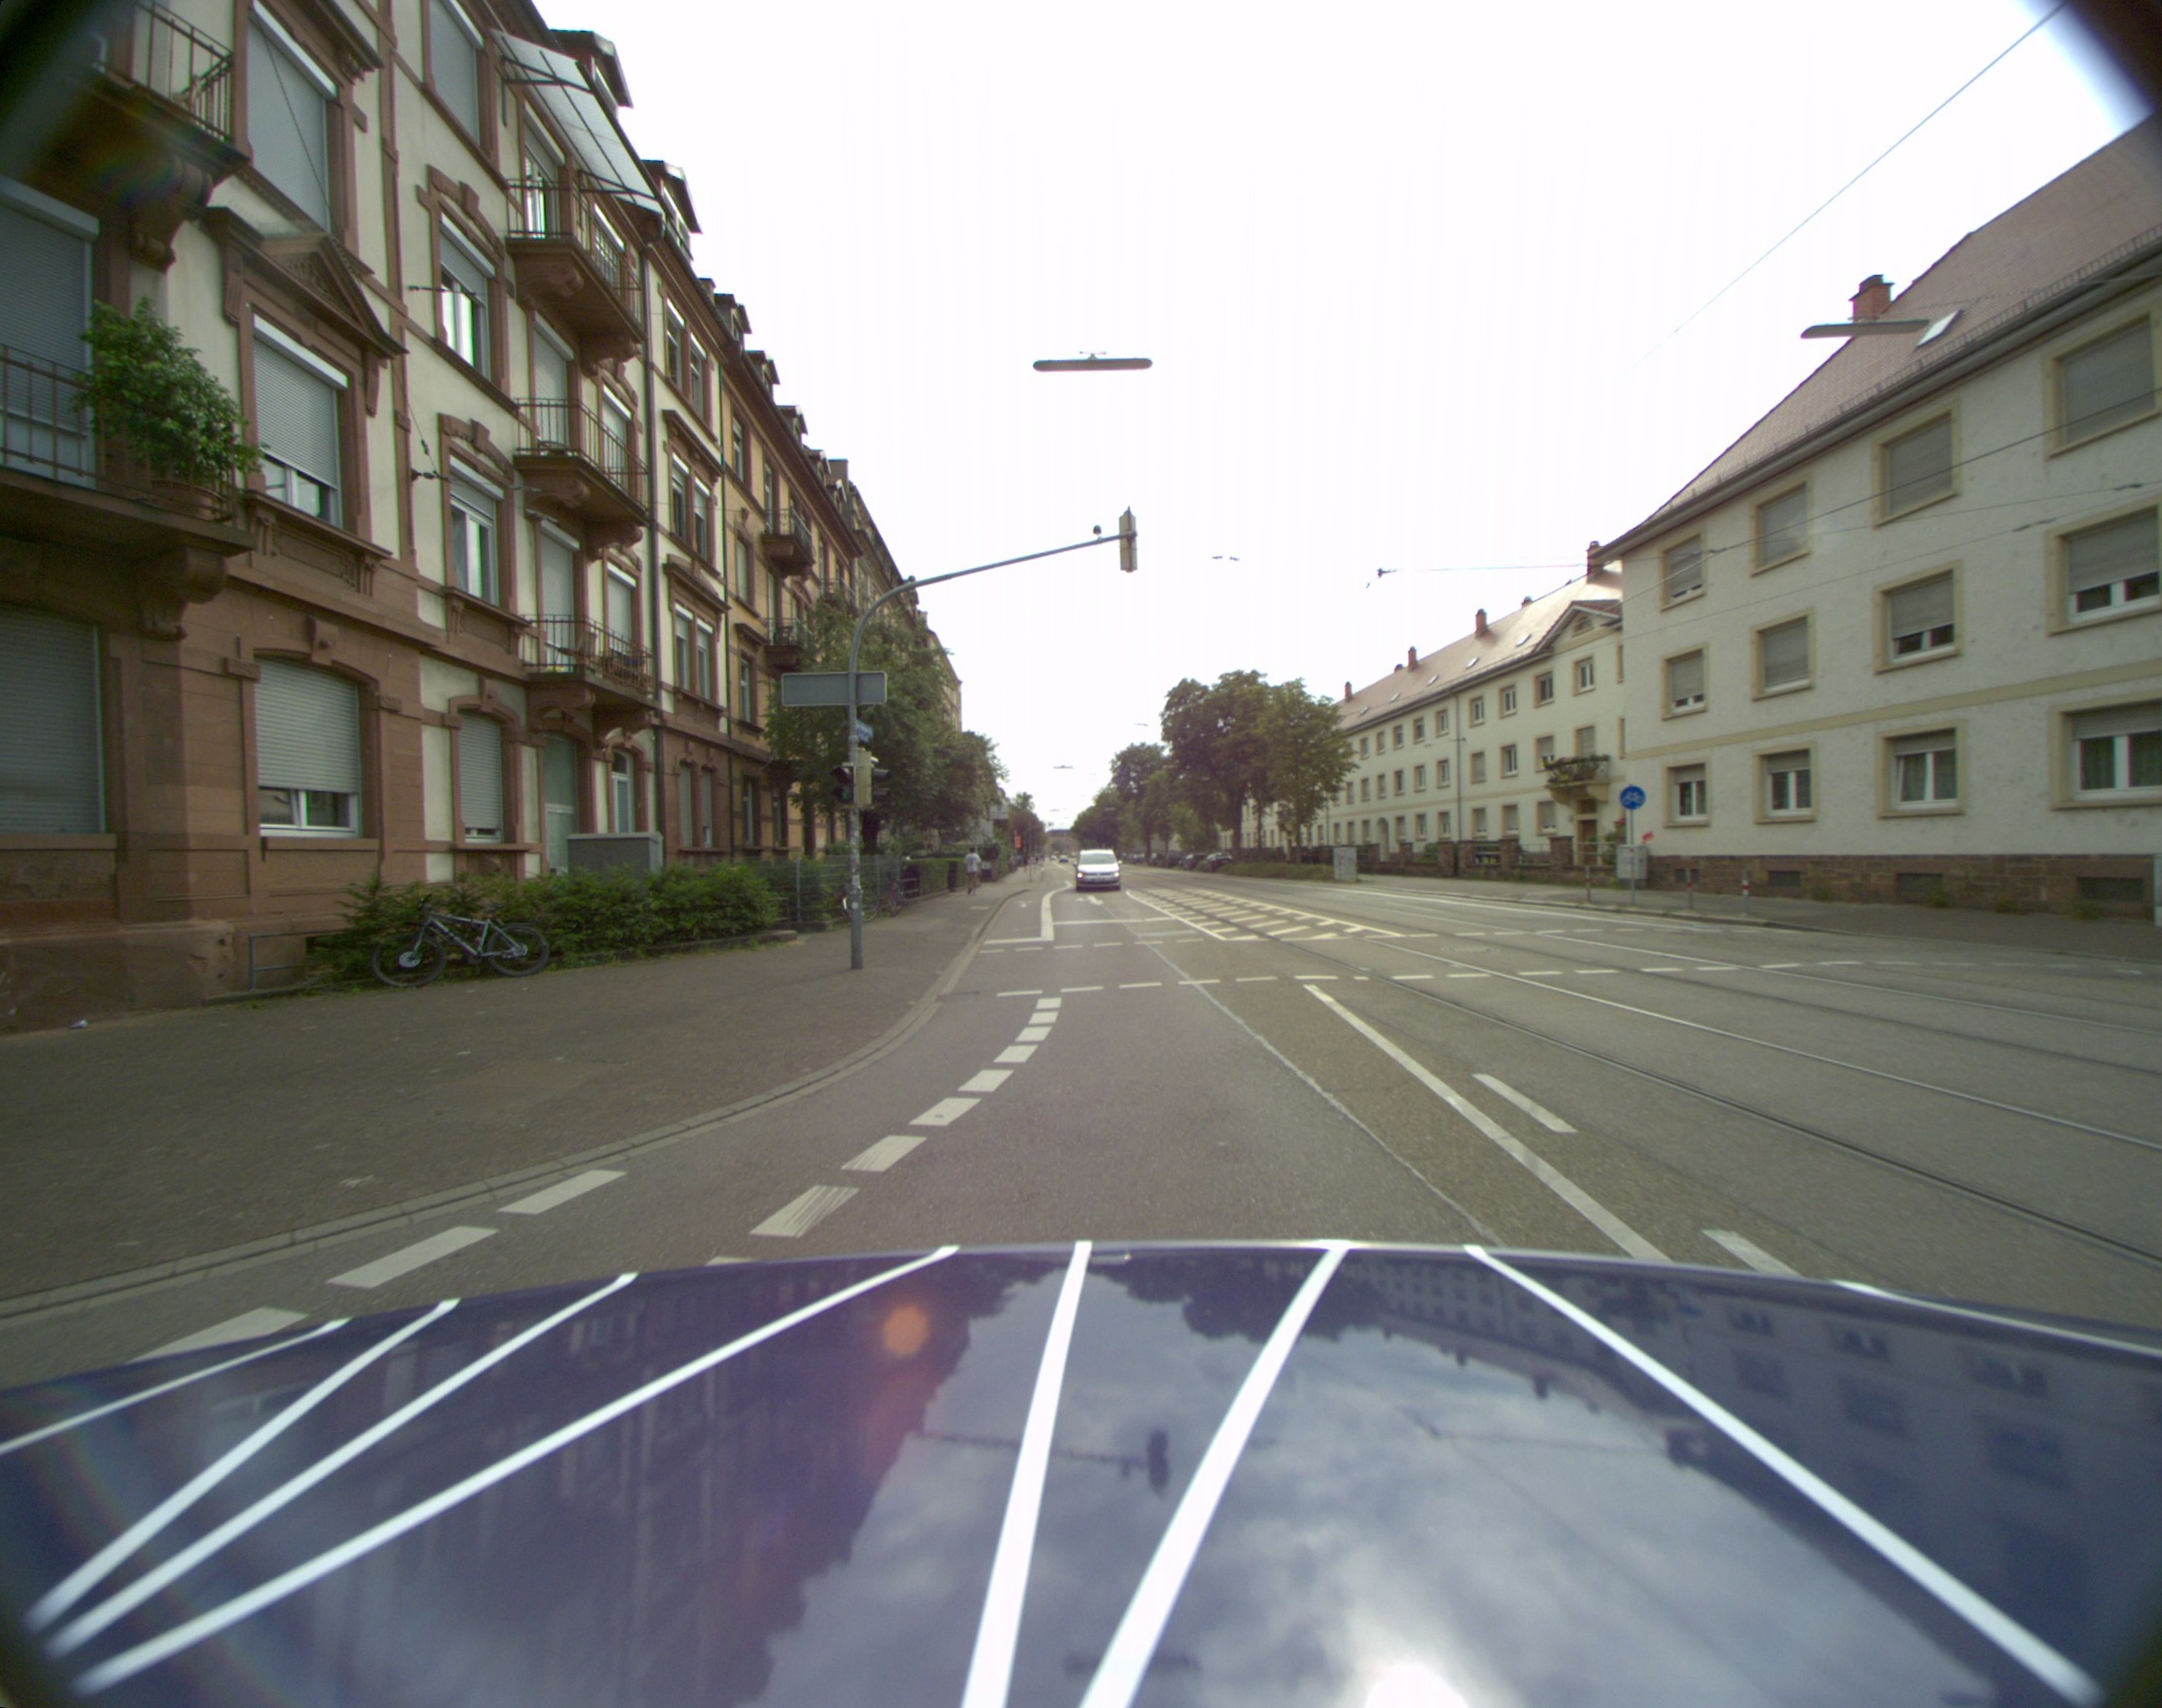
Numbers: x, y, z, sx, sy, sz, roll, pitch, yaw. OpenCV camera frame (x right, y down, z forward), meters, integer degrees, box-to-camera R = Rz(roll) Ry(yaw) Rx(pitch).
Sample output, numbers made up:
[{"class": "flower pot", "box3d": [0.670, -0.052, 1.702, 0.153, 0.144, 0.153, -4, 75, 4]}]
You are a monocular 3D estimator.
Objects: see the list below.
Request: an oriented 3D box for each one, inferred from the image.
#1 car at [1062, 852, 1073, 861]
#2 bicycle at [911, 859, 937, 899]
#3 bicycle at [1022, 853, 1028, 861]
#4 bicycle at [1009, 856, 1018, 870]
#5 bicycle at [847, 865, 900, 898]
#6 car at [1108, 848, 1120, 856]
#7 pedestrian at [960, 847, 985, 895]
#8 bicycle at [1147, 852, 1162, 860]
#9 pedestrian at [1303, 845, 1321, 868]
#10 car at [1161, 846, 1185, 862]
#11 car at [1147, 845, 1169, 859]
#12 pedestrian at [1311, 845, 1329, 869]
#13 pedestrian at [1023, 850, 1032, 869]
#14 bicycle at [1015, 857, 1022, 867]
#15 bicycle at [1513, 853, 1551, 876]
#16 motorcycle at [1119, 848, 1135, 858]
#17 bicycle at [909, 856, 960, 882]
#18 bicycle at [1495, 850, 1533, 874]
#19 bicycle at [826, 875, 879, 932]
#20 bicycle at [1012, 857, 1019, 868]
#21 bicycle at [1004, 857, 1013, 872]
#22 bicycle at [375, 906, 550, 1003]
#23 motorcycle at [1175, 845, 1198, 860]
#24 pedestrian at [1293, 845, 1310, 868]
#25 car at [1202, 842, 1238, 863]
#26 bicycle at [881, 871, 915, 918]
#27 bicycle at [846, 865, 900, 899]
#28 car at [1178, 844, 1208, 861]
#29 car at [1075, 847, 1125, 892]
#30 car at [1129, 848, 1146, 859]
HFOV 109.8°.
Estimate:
[{"class": "car", "box3d": [-2.631, 0.473, 149.519, 1.947, 1.675, 4.000, -1, 0, 2]}, {"class": "bicycle", "box3d": [-5.240, 0.810, 25.414, 0.517, 1.274, 1.550, -1, 0, 0]}, {"class": "bicycle", "box3d": [-7.884, 0.401, 107.077, 0.630, 1.106, 1.874, -1, 0, -2]}, {"class": "bicycle", "box3d": [-5.571, 0.735, 62.800, 0.580, 1.105, 1.671, 3, 0, -4]}, {"class": "bicycle", "box3d": [-6.567, 0.876, 24.117, 1.549, 1.003, 0.444, -1, 1, -4]}, {"class": "car", "box3d": [6.298, -0.319, 143.720, 1.732, 1.462, 4.298, -1, 0, -5]}, {"class": "pedestrian", "box3d": [-4.023, 0.616, 28.262, 0.732, 1.744, 0.950, -1, 1, 2]}, {"class": "bicycle", "box3d": [8.930, 0.252, 91.827, 1.672, 0.965, 0.672, -1, 1, -12]}, {"class": "pedestrian", "box3d": [14.757, 0.170, 48.613, 0.835, 1.456, 0.732, -1, 1, -8]}, {"class": "car", "box3d": [9.422, -0.015, 77.937, 1.790, 1.602, 4.298, -1, 0, -3]}, {"class": "car", "box3d": [8.847, -0.230, 87.223, 1.701, 1.462, 4.298, -1, 0, -5]}, {"class": "pedestrian", "box3d": [14.925, 0.198, 47.429, 0.835, 1.456, 0.732, -1, 1, -8]}, {"class": "pedestrian", "box3d": [-4.670, 0.445, 66.328, 0.732, 1.614, 0.835, -1, 1, -3]}, {"class": "bicycle", "box3d": [-6.092, 0.788, 74.286, 0.580, 0.977, 1.671, 3, 0, -4]}, {"class": "bicycle", "box3d": [18.097, 0.414, 30.527, 0.479, 0.910, 1.671, -1, 0, -2]}, {"class": "motorcycle", "box3d": [7.368, -0.184, 122.003, 2.312, 1.382, 0.838, -6, 1, 29]}, {"class": "bicycle", "box3d": [-7.986, 0.814, 41.463, 2.631, 1.304, 0.770, -1, 1, -5]}, {"class": "bicycle", "box3d": [17.139, 0.291, 30.130, 0.479, 0.910, 1.671, -1, 0, -2]}, {"class": "bicycle", "box3d": [-4.895, 1.040, 16.377, 0.673, 1.100, 1.671, -1, 0, -2]}, {"class": "bicycle", "box3d": [-5.912, 0.778, 68.398, 0.580, 0.977, 1.671, 3, 0, -4]}, {"class": "bicycle", "box3d": [-5.480, 0.793, 57.442, 0.580, 1.105, 1.671, -1, 0, -4]}, {"class": "bicycle", "box3d": [-7.482, 1.178, 9.272, 0.509, 0.964, 1.553, -1, 1, 30]}, {"class": "motorcycle", "box3d": [9.788, -0.132, 70.326, 1.872, 1.253, 0.591, -7, 1, -6]}, {"class": "pedestrian", "box3d": [14.623, 0.148, 50.422, 0.835, 1.503, 0.732, -1, 1, -8]}, {"class": "car", "box3d": [10.634, -0.123, 58.326, 1.701, 1.415, 4.298, -4, 0, -3]}, {"class": "bicycle", "box3d": [-4.588, 1.006, 19.113, 0.510, 1.082, 1.549, 2, 0, -2]}, {"class": "bicycle", "box3d": [-6.430, 0.860, 23.535, 1.549, 1.003, 0.444, -1, 1, -4]}, {"class": "car", "box3d": [9.770, -0.121, 66.587, 1.701, 1.415, 4.298, -3, 0, -3]}, {"class": "car", "box3d": [0.717, 0.579, 31.610, 1.876, 1.670, 5.130, -1, 1, 0]}, {"class": "car", "box3d": [7.946, -0.077, 106.423, 1.701, 1.462, 4.297, -2, 1, -5]}]
